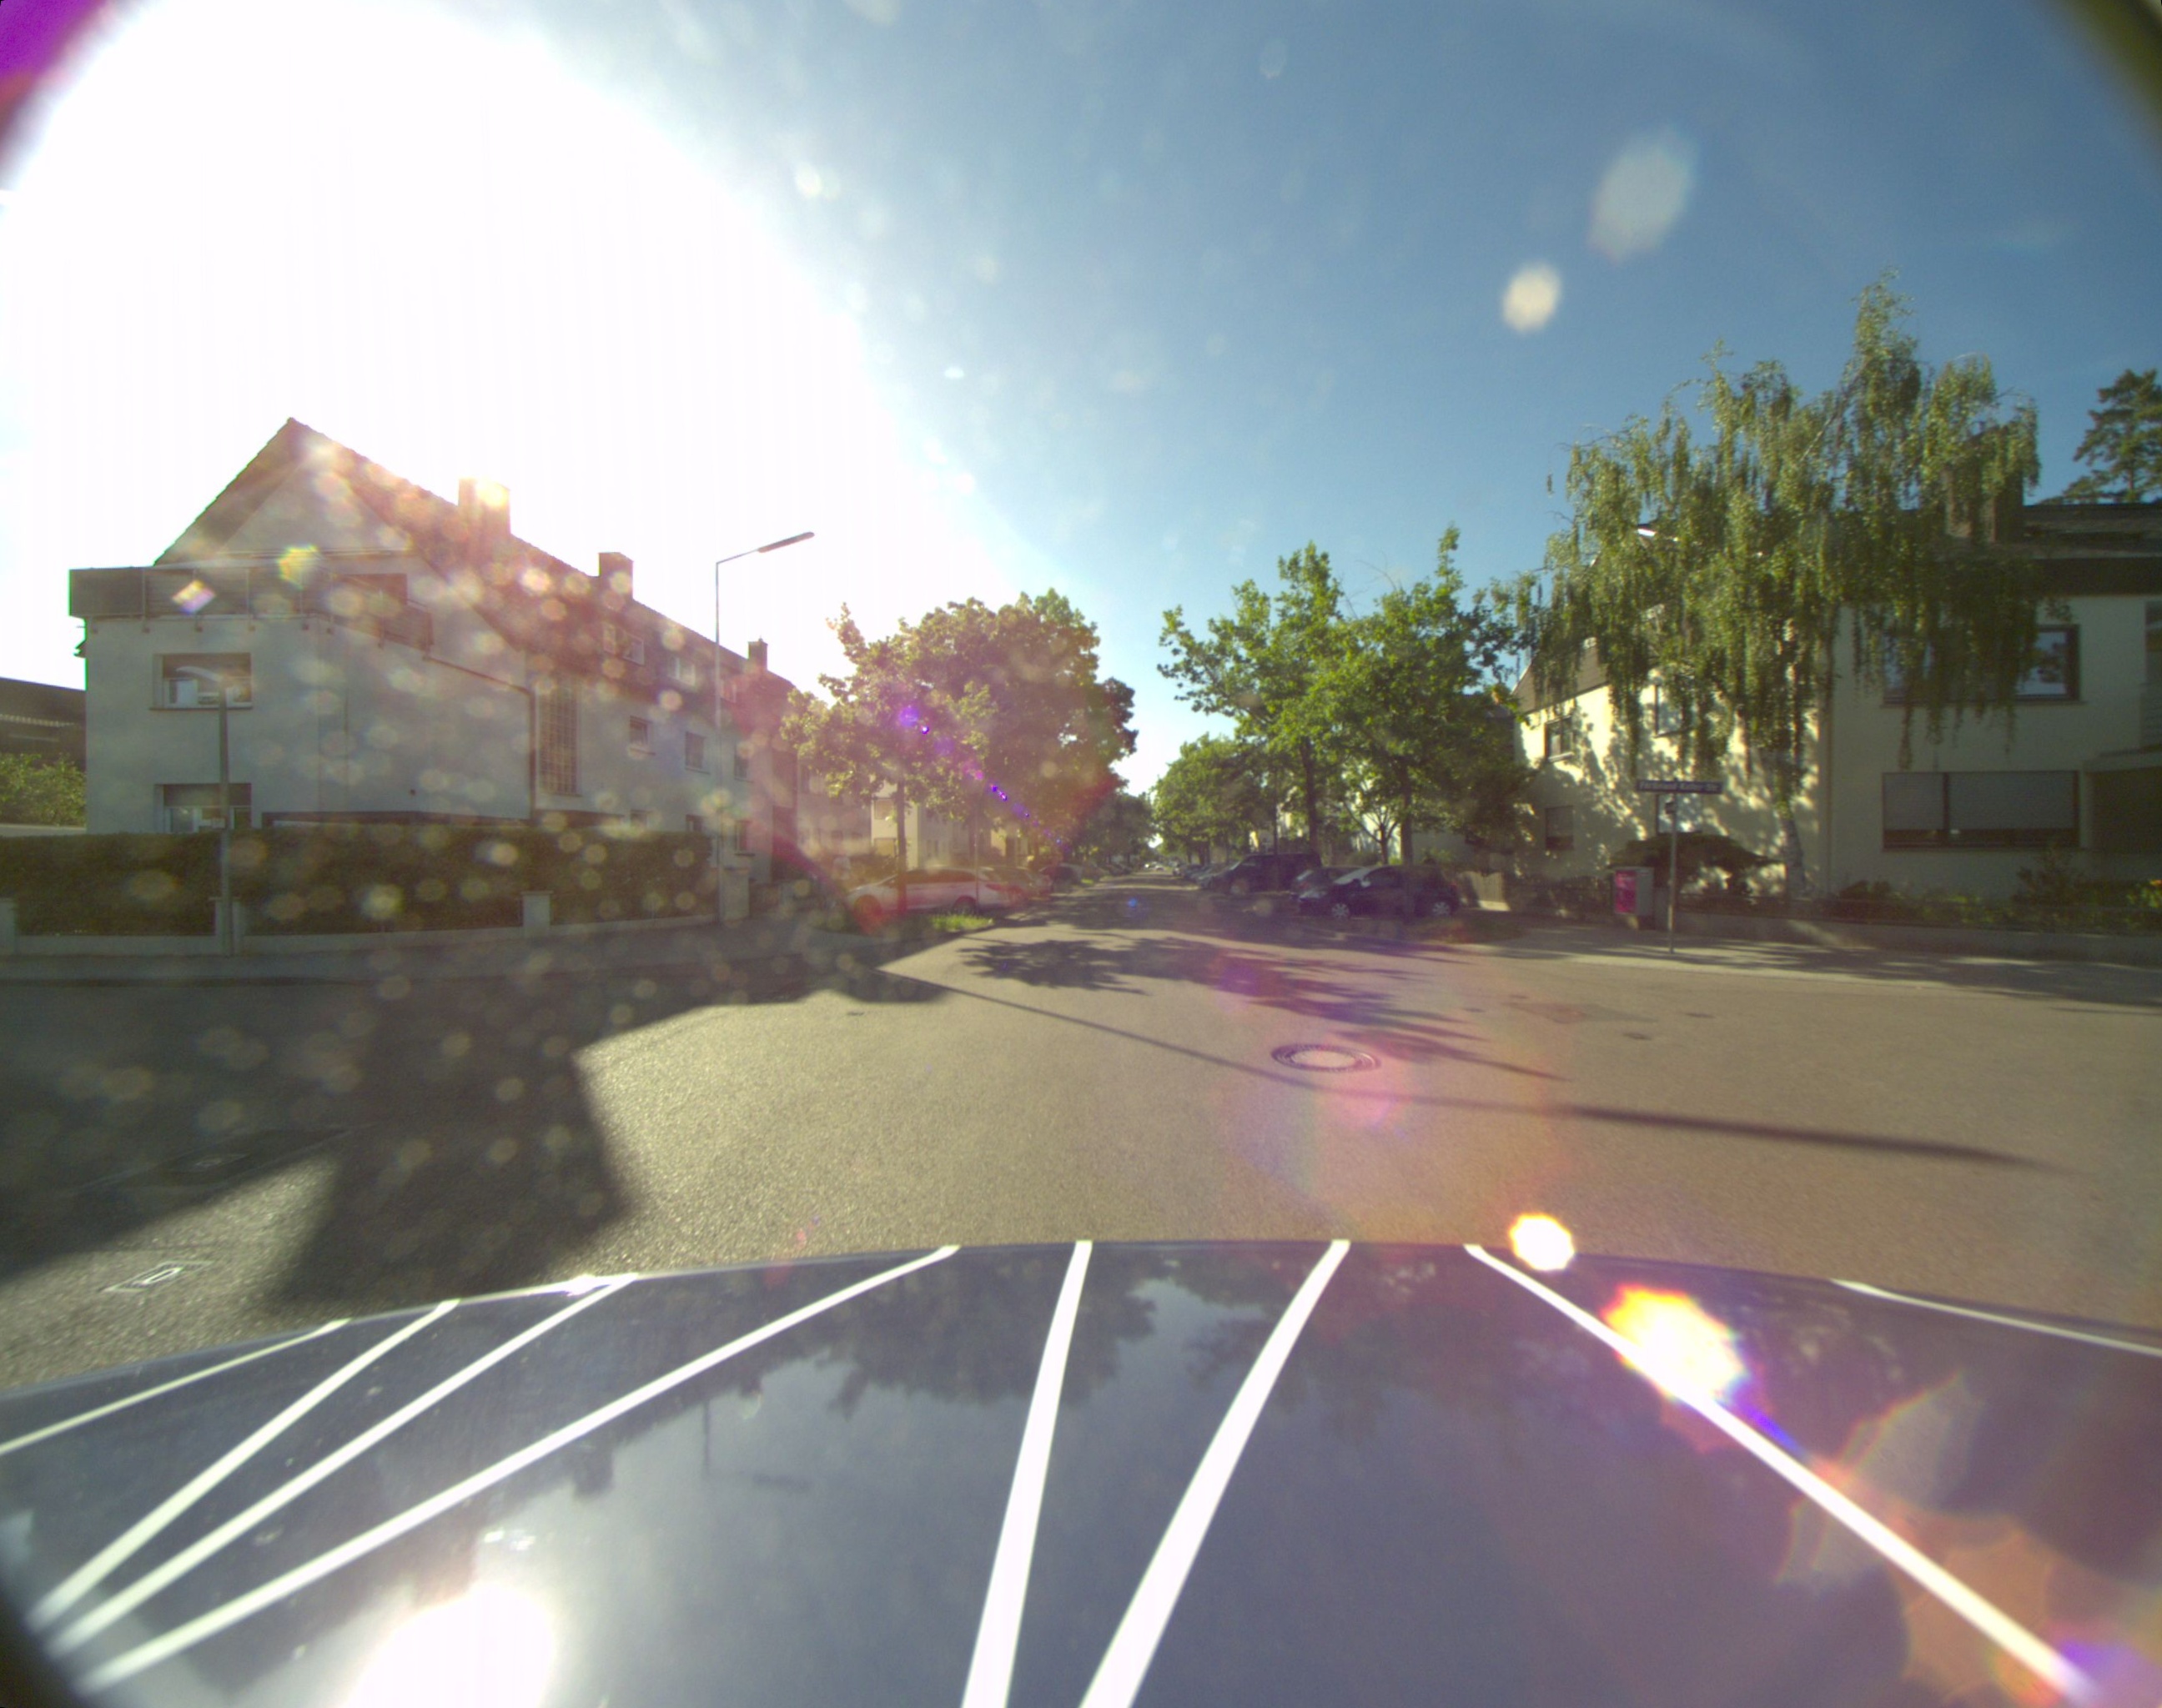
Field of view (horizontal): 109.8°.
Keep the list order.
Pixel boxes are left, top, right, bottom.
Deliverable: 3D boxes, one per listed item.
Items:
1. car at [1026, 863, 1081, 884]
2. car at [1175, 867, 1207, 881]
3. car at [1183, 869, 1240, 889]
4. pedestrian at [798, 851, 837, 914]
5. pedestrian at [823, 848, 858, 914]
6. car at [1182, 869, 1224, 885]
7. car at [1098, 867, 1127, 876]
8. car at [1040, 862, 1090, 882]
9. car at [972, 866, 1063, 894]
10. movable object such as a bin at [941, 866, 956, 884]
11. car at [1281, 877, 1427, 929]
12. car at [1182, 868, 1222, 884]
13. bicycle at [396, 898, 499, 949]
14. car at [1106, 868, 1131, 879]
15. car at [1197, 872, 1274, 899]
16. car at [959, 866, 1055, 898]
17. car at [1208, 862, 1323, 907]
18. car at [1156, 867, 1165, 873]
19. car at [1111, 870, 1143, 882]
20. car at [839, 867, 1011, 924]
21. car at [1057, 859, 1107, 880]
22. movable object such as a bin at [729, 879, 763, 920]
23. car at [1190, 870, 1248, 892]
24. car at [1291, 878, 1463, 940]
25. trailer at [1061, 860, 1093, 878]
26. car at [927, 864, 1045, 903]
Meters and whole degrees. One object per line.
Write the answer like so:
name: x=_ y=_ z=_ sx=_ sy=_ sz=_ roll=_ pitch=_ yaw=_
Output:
car: x=-2.004 y=1.415 z=56.203 sx=3.890 sy=1.507 sz=1.662 roll=0 pitch=0 yaw=6
car: x=15.085 y=2.711 z=104.181 sx=4.246 sy=1.932 sz=2.001 roll=0 pitch=0 yaw=4
car: x=10.592 y=2.032 z=62.080 sx=4.533 sy=1.621 sz=1.939 roll=0 pitch=0 yaw=7
pedestrian: x=-7.640 y=0.810 z=22.059 sx=0.836 sy=1.817 sz=0.711 roll=0 pitch=1 yaw=5
pedestrian: x=-6.935 y=0.775 z=21.924 sx=0.609 sy=1.862 sz=0.924 roll=0 pitch=1 yaw=6
car: x=12.234 y=2.295 z=76.304 sx=4.043 sy=1.414 sz=1.811 roll=-3 pitch=-1 yaw=4
car: x=5.166 y=2.828 z=122.911 sx=4.511 sy=1.437 sz=1.839 roll=1 pitch=-1 yaw=8
car: x=-1.269 y=1.440 z=61.188 sx=3.996 sy=1.614 sz=1.757 roll=0 pitch=0 yaw=1
car: x=-3.177 y=1.294 z=38.584 sx=4.355 sy=1.355 sz=1.874 roll=0 pitch=0 yaw=4
movable object such as a bin: x=-8.308 y=1.313 z=47.559 sx=0.704 sy=1.105 sz=0.906 roll=0 pitch=0 yaw=4
car: x=8.208 y=1.457 z=23.106 sx=3.827 sy=1.411 sz=1.773 roll=-1 pitch=-1 yaw=3
car: x=12.941 y=2.331 z=81.600 sx=4.195 sy=1.557 sz=1.793 roll=-2 pitch=-1 yaw=7
bicycle: x=-14.032 y=1.519 z=16.874 sx=1.676 sy=1.048 sz=0.531 roll=1 pitch=-1 yaw=-28
car: x=5.888 y=3.040 z=118.306 sx=3.784 sy=1.475 sz=1.756 roll=1 pitch=1 yaw=8
car: x=9.118 y=1.858 z=45.098 sx=4.285 sy=1.469 sz=1.770 roll=-2 pitch=-1 yaw=5
car: x=-3.348 y=1.262 z=35.004 sx=4.288 sy=1.405 sz=1.797 roll=0 pitch=-1 yaw=-1
car: x=8.385 y=1.376 z=34.891 sx=4.789 sy=1.905 sz=2.019 roll=-1 pitch=-1 yaw=3
car: x=19.601 y=3.976 z=187.475 sx=1.943 sy=1.411 sz=4.003 roll=0 pitch=-1 yaw=10
car: x=6.316 y=2.978 z=103.788 sx=4.328 sy=1.520 sz=1.842 roll=1 pitch=-1 yaw=6
car: x=-4.252 y=1.121 z=21.187 sx=4.440 sy=1.483 sz=1.796 roll=0 pitch=0 yaw=-1
car: x=0.122 y=1.548 z=75.471 sx=4.828 sy=2.071 sz=2.087 roll=0 pitch=0 yaw=6
movable object such as a bin: x=-8.683 y=1.175 z=19.721 sx=0.535 sy=1.039 sz=0.700 roll=0 pitch=0 yaw=3
car: x=10.345 y=2.031 z=57.178 sx=4.191 sy=1.483 sz=1.648 roll=-1 pitch=-1 yaw=5
car: x=7.683 y=1.415 z=19.990 sx=3.866 sy=1.450 sz=1.714 roll=-1 pitch=-1 yaw=5
trailer: x=-0.413 y=1.357 z=71.016 sx=2.953 sy=1.654 sz=1.615 roll=0 pitch=0 yaw=0
car: x=-3.689 y=1.133 z=29.930 sx=4.285 sy=1.494 sz=1.797 roll=0 pitch=-1 yaw=5
